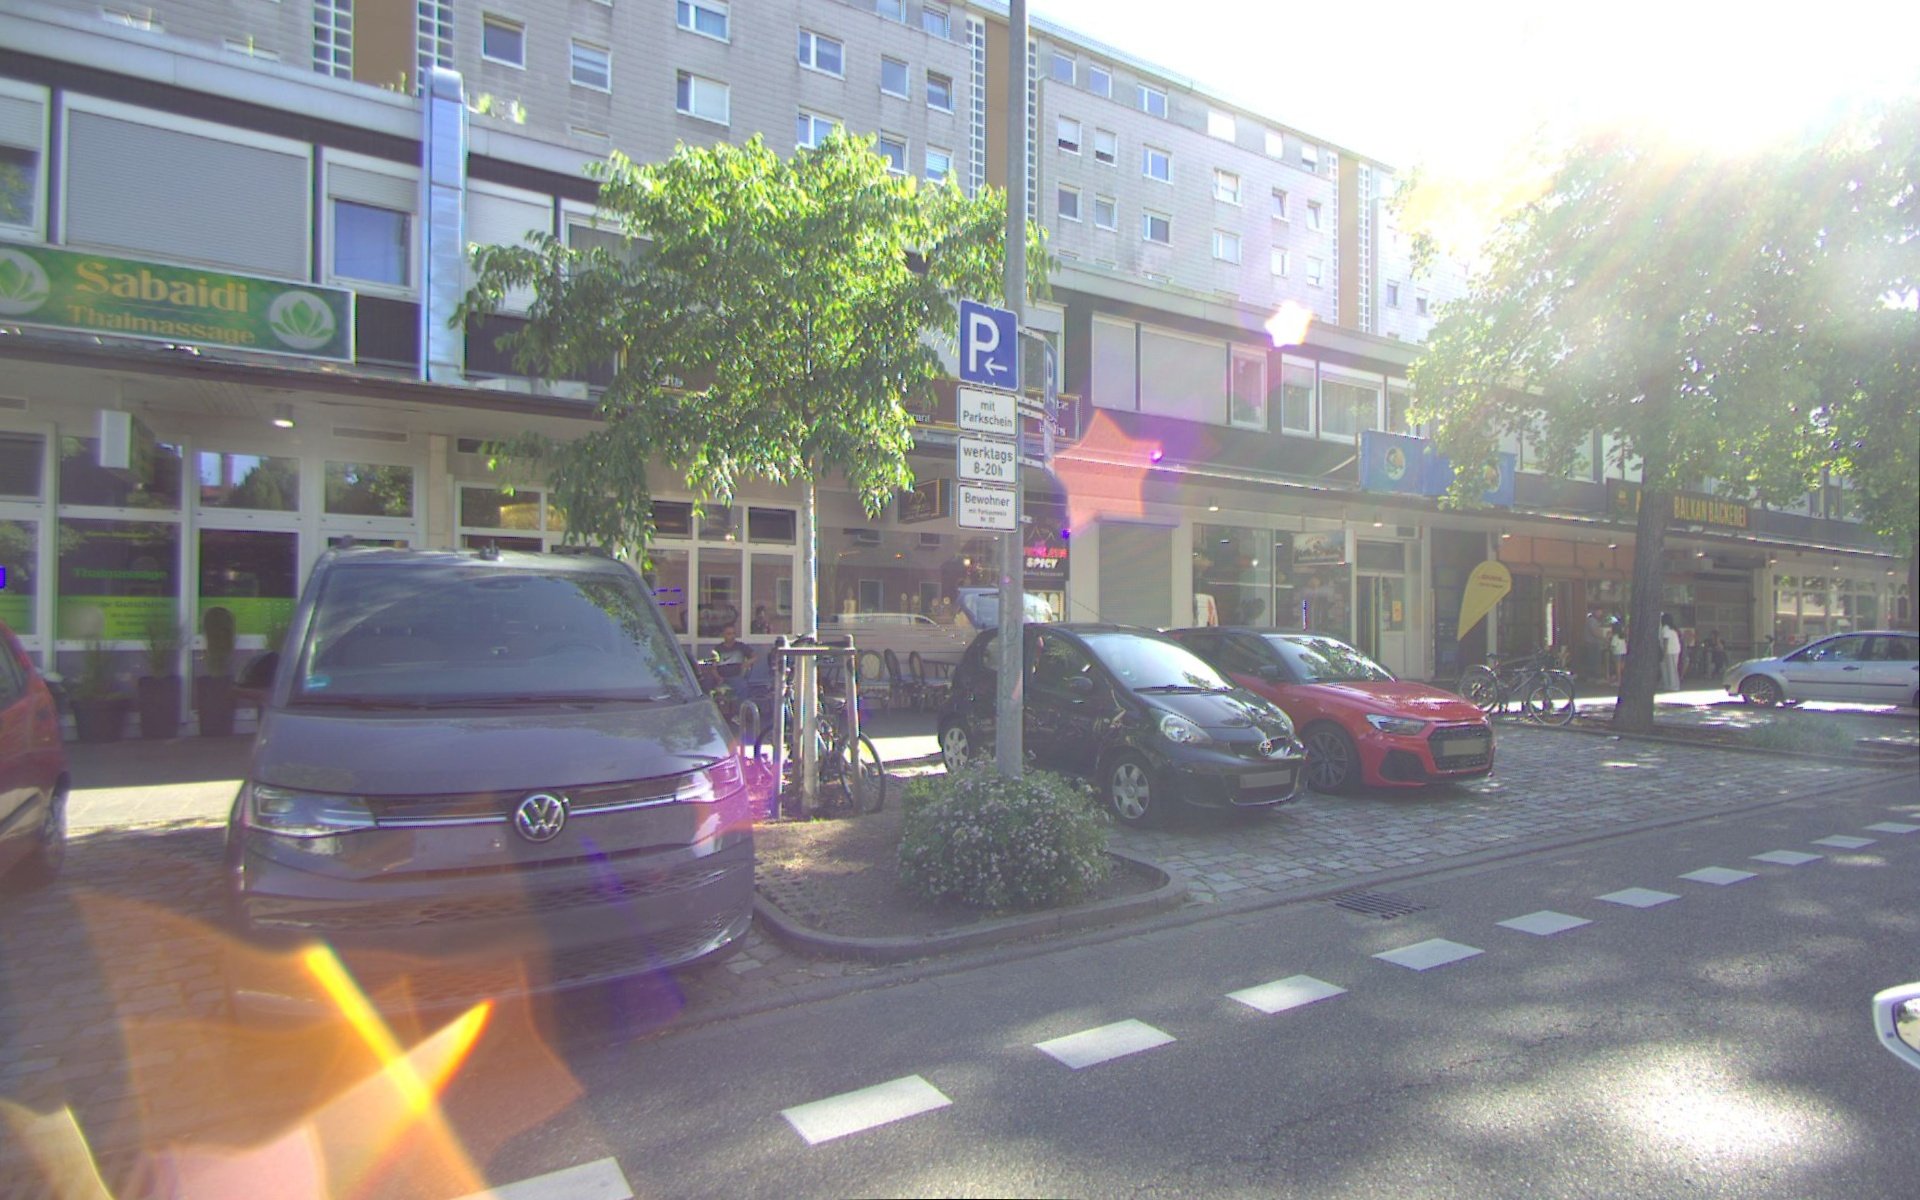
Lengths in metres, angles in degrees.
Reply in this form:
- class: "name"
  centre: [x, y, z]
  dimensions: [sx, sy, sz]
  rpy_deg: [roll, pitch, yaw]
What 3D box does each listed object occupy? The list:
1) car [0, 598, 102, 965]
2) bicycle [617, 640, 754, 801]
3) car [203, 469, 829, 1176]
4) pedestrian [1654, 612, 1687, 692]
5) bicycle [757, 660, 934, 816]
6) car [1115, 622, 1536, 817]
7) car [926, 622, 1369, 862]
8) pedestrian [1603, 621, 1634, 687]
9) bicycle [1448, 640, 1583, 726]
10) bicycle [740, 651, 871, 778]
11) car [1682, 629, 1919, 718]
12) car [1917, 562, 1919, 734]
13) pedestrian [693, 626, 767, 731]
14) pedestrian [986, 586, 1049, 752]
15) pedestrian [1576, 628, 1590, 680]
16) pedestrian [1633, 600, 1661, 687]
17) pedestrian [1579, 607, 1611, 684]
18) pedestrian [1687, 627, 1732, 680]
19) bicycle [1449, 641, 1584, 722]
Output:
- class: "car"
  centre: [-4.898, 0.777, 4.009]
  dimensions: [1.643, 1.575, 3.539]
  rpy_deg: [1, 0, -31]
- class: "bicycle"
  centre: [-2.440, 0.948, 8.724]
  dimensions: [0.790, 1.183, 2.230]
  rpy_deg: [1, -2, -25]
- class: "car"
  centre: [-2.552, 0.622, 5.433]
  dimensions: [1.851, 1.964, 5.005]
  rpy_deg: [1, 0, -30]
- class: "pedestrian"
  centre: [15.697, 1.141, 22.192]
  dimensions: [0.496, 1.728, 0.389]
  rpy_deg: [1, 0, -30]
- class: "bicycle"
  centre: [-0.973, 1.039, 8.119]
  dimensions: [0.609, 1.053, 1.850]
  rpy_deg: [1, -2, -35]
- class: "car"
  centre: [3.407, 1.009, 10.150]
  dimensions: [1.688, 1.470, 3.903]
  rpy_deg: [1, 0, -27]
- class: "car"
  centre: [1.348, 0.965, 8.475]
  dimensions: [1.596, 1.470, 3.644]
  rpy_deg: [1, 0, -33]
- class: "pedestrian"
  centre: [15.020, 1.222, 22.908]
  dimensions: [0.416, 1.492, 0.465]
  rpy_deg: [1, -2, -34]
- class: "bicycle"
  centre: [8.317, 1.208, 15.105]
  dimensions: [0.615, 1.132, 1.712]
  rpy_deg: [1, 0, -27]
- class: "bicycle"
  centre: [-1.524, 1.041, 9.642]
  dimensions: [0.608, 1.053, 1.853]
  rpy_deg: [1, -2, -30]
- class: "car"
  centre: [15.925, 1.271, 18.441]
  dimensions: [1.839, 1.476, 3.966]
  rpy_deg: [1, -2, -31]
- class: "car"
  centre: [17.215, 0.688, 13.704]
  dimensions: [6.474, 2.506, 2.000]
  rpy_deg: [0, -1, -1]
- class: "pedestrian"
  centre: [-2.875, 0.960, 12.555]
  dimensions: [0.738, 1.262, 0.646]
  rpy_deg: [1, -1, -31]
- class: "pedestrian"
  centre: [0.609, 0.728, 10.825]
  dimensions: [0.622, 1.735, 0.581]
  rpy_deg: [0, -1, -3]
- class: "pedestrian"
  centre: [15.304, 1.325, 24.673]
  dimensions: [0.212, 1.260, 0.211]
  rpy_deg: [1, 0, -30]
- class: "pedestrian"
  centre: [15.714, 0.981, 22.968]
  dimensions: [0.357, 1.960, 0.389]
  rpy_deg: [1, 0, -30]
- class: "pedestrian"
  centre: [15.016, 1.070, 23.760]
  dimensions: [0.423, 1.805, 0.482]
  rpy_deg: [1, -2, -34]
- class: "pedestrian"
  centre: [19.564, 1.381, 26.223]
  dimensions: [0.696, 1.348, 0.718]
  rpy_deg: [2, 0, -34]
- class: "bicycle"
  centre: [8.866, 1.270, 16.091]
  dimensions: [0.579, 1.121, 1.861]
  rpy_deg: [1, 0, -27]
